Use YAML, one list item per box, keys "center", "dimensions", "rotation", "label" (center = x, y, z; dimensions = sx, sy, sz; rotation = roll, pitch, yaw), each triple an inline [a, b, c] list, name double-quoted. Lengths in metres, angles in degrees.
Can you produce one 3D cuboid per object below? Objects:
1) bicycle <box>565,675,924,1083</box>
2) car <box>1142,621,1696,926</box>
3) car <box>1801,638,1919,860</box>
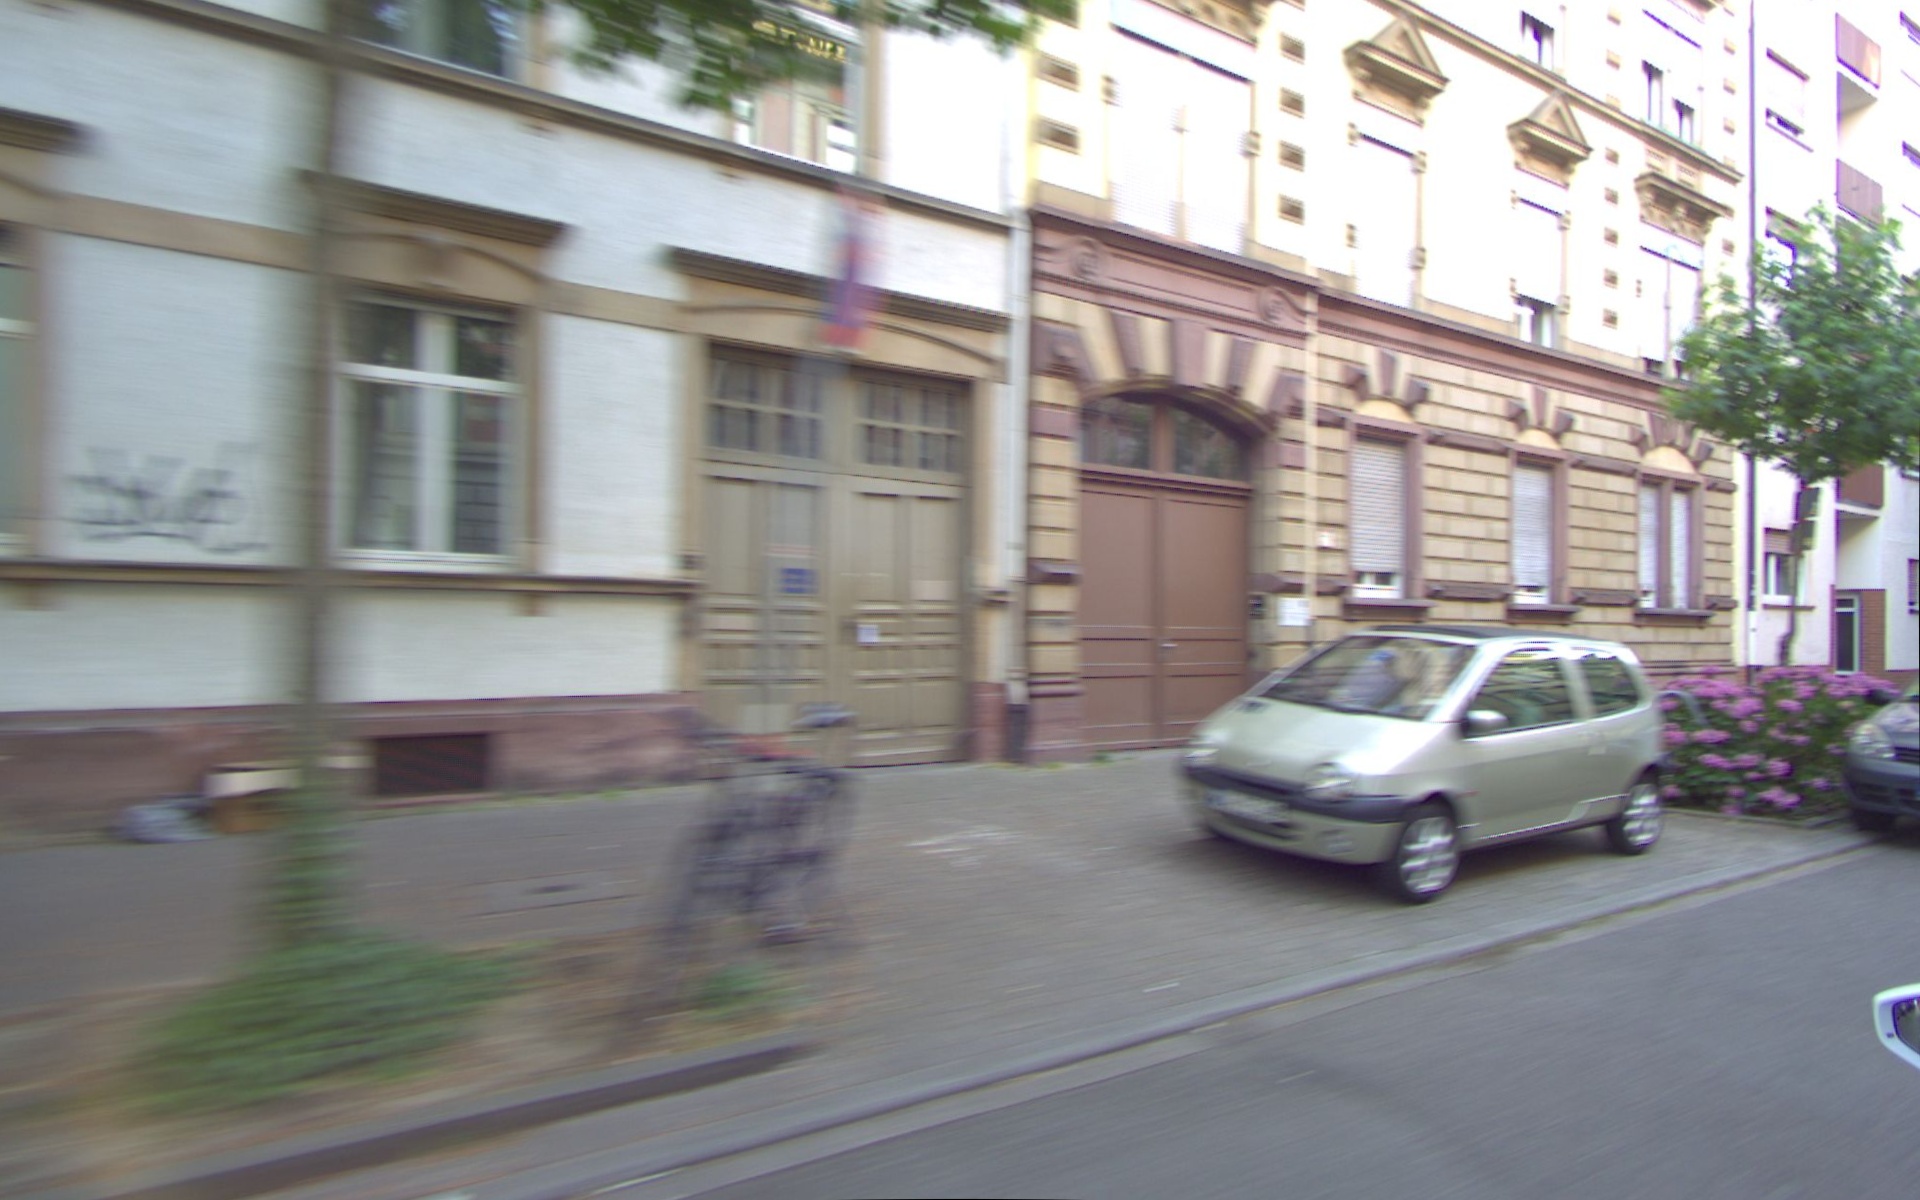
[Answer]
- center: [-0.703, 0.906, 3.967]
  dimensions: [0.655, 1.099, 1.829]
  rotation: [2, -1, 12]
  label: "bicycle"
- center: [3.063, 0.908, 6.551]
  dimensions: [3.525, 1.456, 1.579]
  rotation: [1, 0, -31]
  label: "car"
- center: [7.907, 1.010, 7.368]
  dimensions: [3.711, 1.438, 1.572]
  rotation: [2, -2, -32]
  label: "car"
